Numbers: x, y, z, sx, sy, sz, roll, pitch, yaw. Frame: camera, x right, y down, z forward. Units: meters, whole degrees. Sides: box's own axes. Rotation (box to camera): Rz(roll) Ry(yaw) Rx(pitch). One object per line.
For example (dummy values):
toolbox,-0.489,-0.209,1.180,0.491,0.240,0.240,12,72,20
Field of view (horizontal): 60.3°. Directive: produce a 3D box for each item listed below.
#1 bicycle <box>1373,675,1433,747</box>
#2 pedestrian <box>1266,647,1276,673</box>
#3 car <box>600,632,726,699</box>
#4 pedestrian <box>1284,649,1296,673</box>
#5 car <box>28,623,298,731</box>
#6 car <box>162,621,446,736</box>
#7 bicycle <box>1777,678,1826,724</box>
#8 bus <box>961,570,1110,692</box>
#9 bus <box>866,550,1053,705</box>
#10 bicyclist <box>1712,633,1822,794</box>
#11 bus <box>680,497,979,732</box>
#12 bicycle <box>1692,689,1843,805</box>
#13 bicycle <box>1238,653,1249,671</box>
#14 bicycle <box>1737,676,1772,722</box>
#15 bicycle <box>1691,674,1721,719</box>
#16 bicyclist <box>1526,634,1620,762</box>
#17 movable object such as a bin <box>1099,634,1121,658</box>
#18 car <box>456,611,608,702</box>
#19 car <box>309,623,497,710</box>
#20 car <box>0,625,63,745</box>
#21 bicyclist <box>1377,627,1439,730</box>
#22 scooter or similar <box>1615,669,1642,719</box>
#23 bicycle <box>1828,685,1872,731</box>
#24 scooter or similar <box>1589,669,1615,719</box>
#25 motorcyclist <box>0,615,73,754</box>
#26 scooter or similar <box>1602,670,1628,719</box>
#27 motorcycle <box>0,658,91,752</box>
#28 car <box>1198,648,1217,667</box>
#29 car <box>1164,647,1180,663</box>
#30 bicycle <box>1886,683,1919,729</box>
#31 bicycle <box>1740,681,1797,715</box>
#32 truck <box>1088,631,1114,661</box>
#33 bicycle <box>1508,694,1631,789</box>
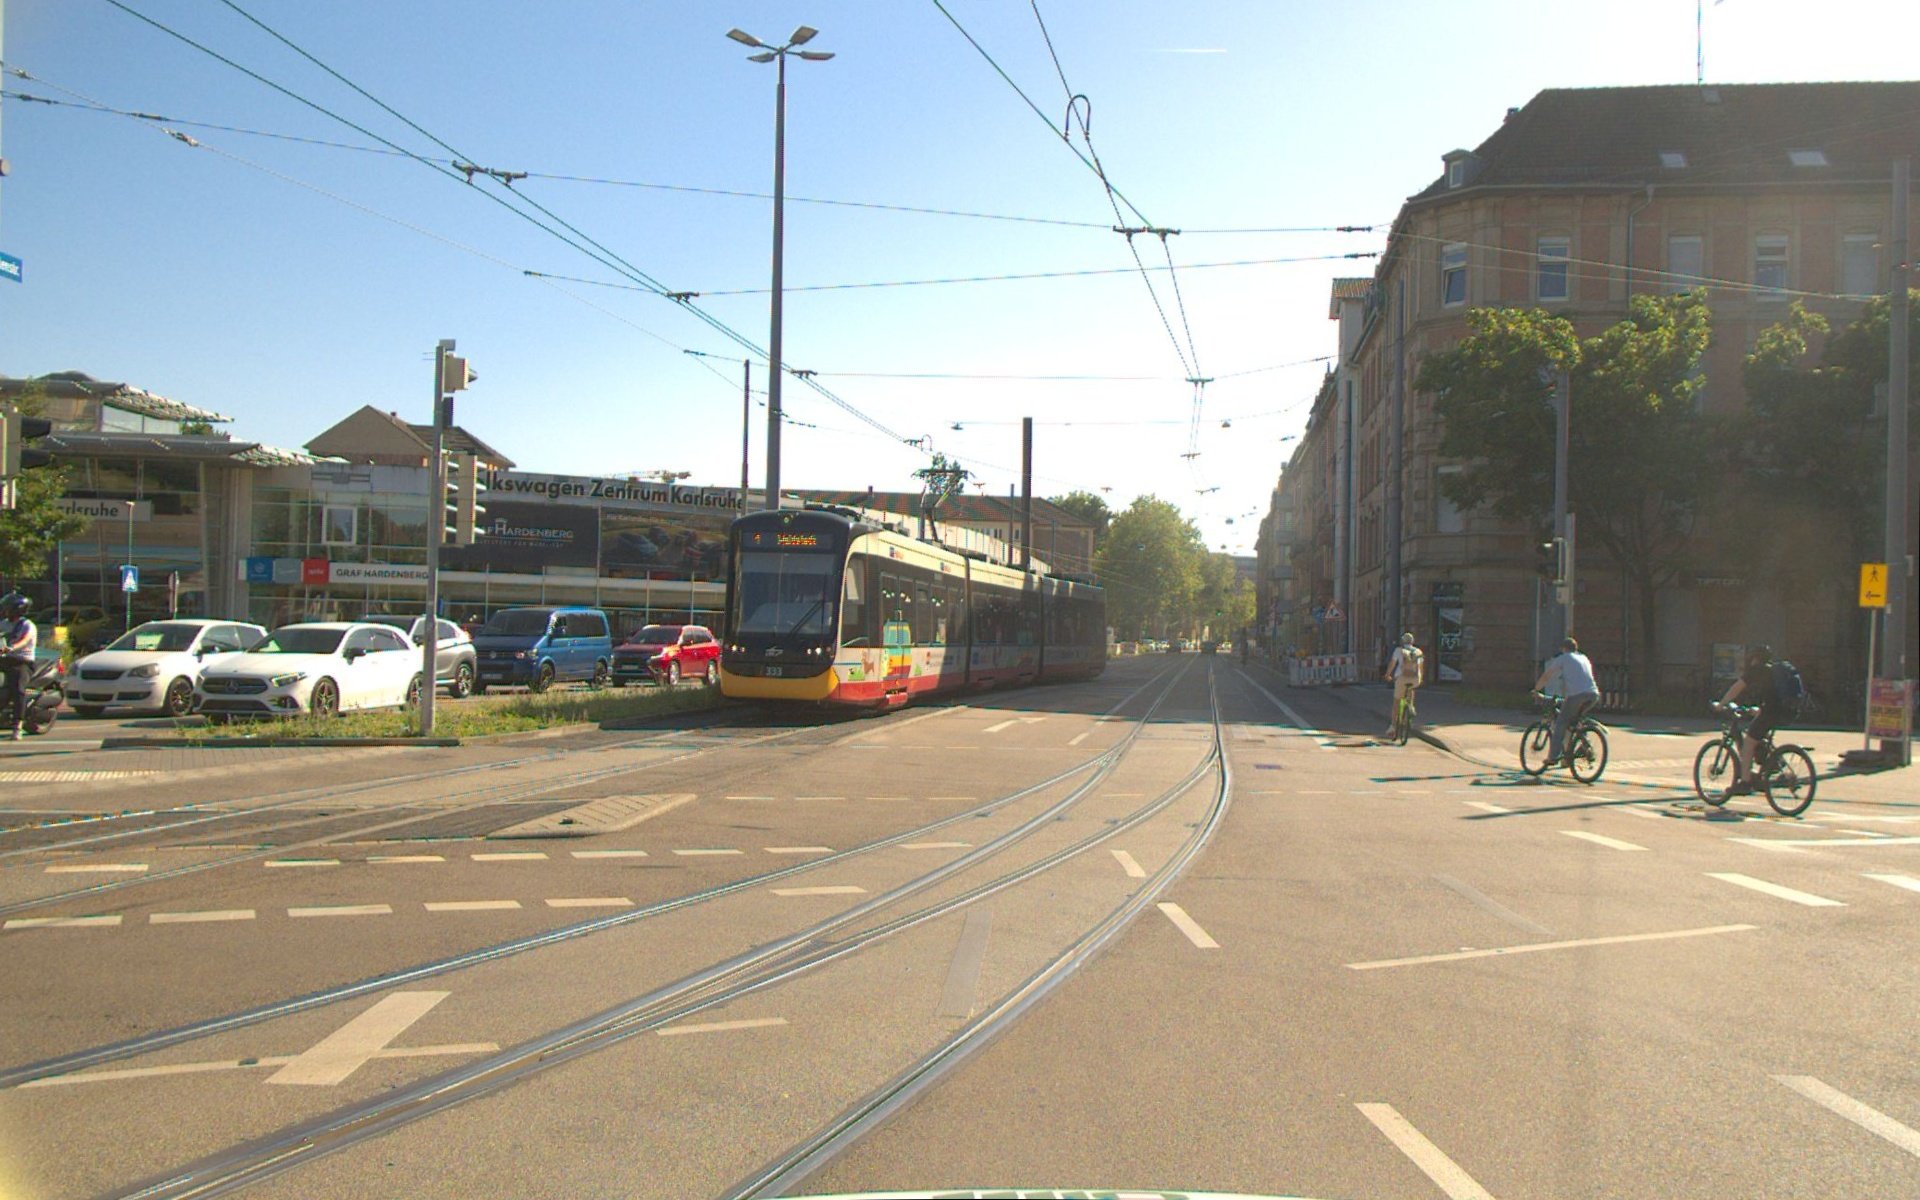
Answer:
bicycle,7.602,1.884,28.449,0.520,1.137,1.934,3,-2,2
pedestrian,20.330,3.933,108.121,0.541,1.731,0.474,-1,-3,14
car,-8.192,1.815,45.996,1.761,1.750,4.419,0,-2,14
pedestrian,21.948,4.059,109.992,0.781,1.633,0.653,1,-2,11
car,-12.356,1.191,25.957,1.764,1.457,4.003,3,-2,9
car,-9.594,1.143,24.634,1.764,1.457,4.544,3,-2,9
bicycle,20.892,2.493,41.076,0.395,1.080,1.350,3,-2,-6
bus,2.793,1.105,55.830,2.780,3.653,11.278,1,-1,14
bus,0.263,0.819,45.125,2.780,3.653,10.733,1,-1,12
bicyclist,8.595,1.191,17.646,0.611,1.642,0.980,3,-2,-4
bus,-2.023,0.408,33.026,2.780,3.653,13.505,2,-1,9
bicycle,8.585,1.540,17.673,0.521,1.137,1.931,2,-3,-5
bicycle,19.155,4.189,111.810,0.666,1.134,2.709,3,-2,8
bicycle,19.831,2.460,41.284,0.394,1.080,1.353,3,-2,9
bicycle,18.669,2.410,41.388,0.394,1.080,1.483,2,-2,14
bicyclist,7.977,1.263,21.554,0.770,1.621,0.881,2,-2,-18
movable object such as a bin,18.153,5.530,199.724,2.442,2.691,5.992,3,-1,6
car,-9.866,1.325,38.426,1.764,1.967,4.168,0,-2,11
car,-11.004,1.319,33.002,1.764,1.606,4.168,0,-2,9
car,-13.020,1.047,20.092,1.614,1.505,3.973,0,-2,9
bicyclist,7.688,1.338,28.421,0.667,1.713,1.119,3,-2,-1
scooter or similar,16.773,2.356,41.506,0.264,1.217,1.566,2,-2,9
bicycle,22.255,2.683,41.389,0.394,1.080,1.462,3,-2,5
scooter or similar,16.146,2.350,41.602,0.264,1.206,1.566,2,-2,9
motorcyclist,-11.236,1.003,19.812,0.572,1.607,0.944,0,-2,10
scooter or similar,16.453,2.366,41.563,0.264,1.206,1.566,2,-2,9
motorcycle,-11.189,1.231,19.692,0.507,1.065,1.748,0,-1,10
car,28.121,6.540,188.008,1.951,2.049,4.003,3,-2,9
car,25.850,6.727,201.951,1.721,1.726,4.146,3,-2,10
bicycle,23.395,2.615,40.739,0.395,1.080,1.462,3,-2,3
bicycle,23.061,2.794,47.173,1.388,0.871,0.404,2,-2,16
truck,14.419,4.739,168.796,2.485,2.880,6.379,3,-2,5
bicycle,7.924,1.821,21.587,0.380,1.087,1.923,1,0,-19
